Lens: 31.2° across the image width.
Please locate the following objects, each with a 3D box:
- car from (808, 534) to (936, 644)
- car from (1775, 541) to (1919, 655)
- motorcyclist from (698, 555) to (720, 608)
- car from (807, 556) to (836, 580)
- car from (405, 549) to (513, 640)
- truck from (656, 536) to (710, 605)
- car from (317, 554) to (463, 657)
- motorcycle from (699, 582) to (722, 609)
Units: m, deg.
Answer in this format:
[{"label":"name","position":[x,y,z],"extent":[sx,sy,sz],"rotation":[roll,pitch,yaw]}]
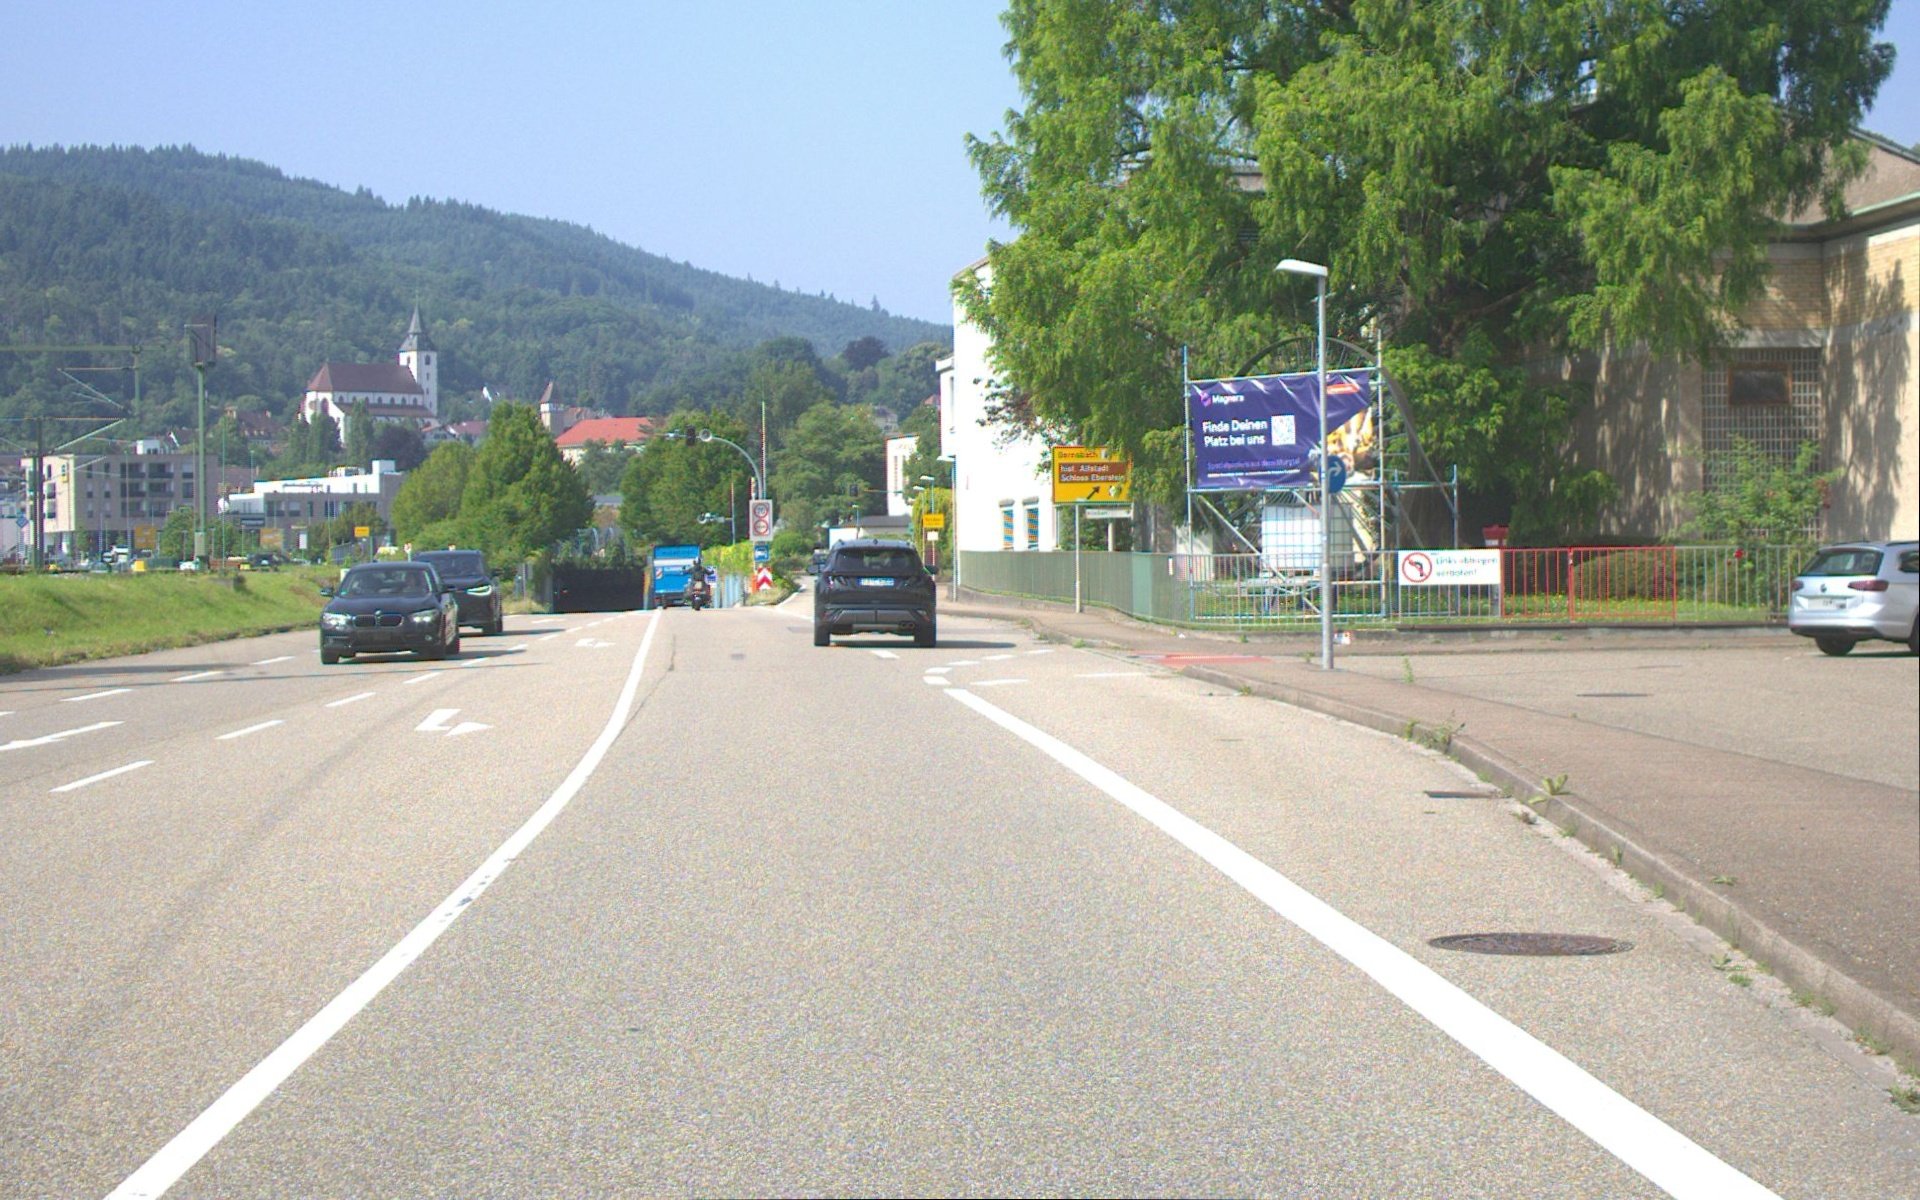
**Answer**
[{"label":"car","position":[-1.398,-0.194,53.603],"extent":[1.919,1.634,4.000],"rotation":[0,1,-2]},{"label":"car","position":[12.495,-0.065,44.078],"extent":[3.987,1.396,1.664],"rotation":[-1,1,-33]},{"label":"motorcyclist","position":[-7.289,-0.533,99.948],"extent":[0.606,1.515,0.863],"rotation":[-1,1,-2]},{"label":"car","position":[-8.827,-2.044,219.650],"extent":[1.767,1.481,4.000],"rotation":[0,0,-1]},{"label":"car","position":[-9.378,-0.135,64.560],"extent":[1.755,1.634,4.001],"rotation":[0,1,-5]},{"label":"truck","position":[-12.181,-1.338,151.166],"extent":[2.312,2.960,5.967],"rotation":[-1,1,-4]},{"label":"car","position":[-8.299,0.045,50.300],"extent":[1.755,1.424,4.001],"rotation":[0,1,-4]},{"label":"motorcycle","position":[-7.252,-0.132,99.951],"extent":[0.606,0.751,1.415],"rotation":[-1,1,-2]}]
